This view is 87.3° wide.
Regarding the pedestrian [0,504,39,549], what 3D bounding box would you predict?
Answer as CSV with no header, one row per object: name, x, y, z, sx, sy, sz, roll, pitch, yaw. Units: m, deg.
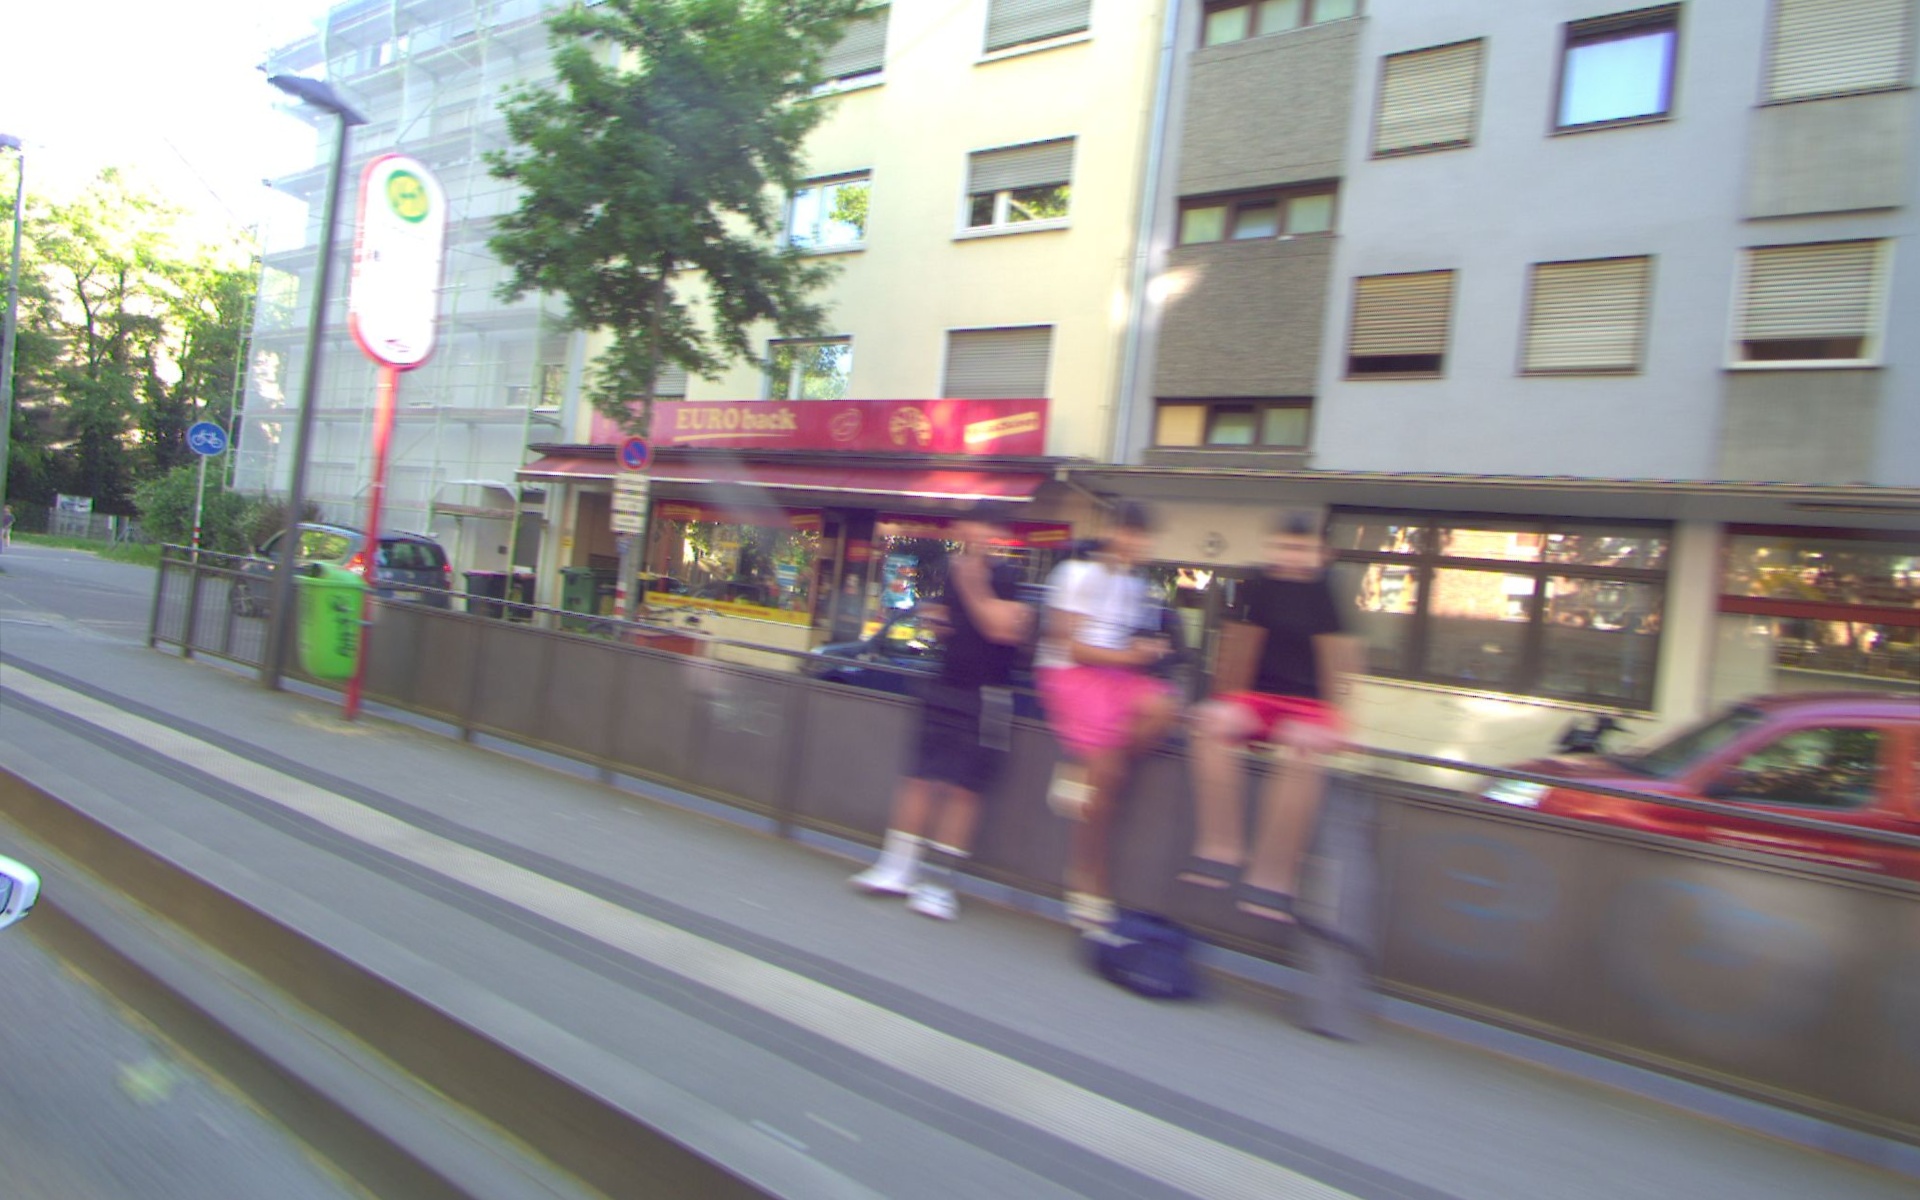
pedestrian,-27.146,-2.113,28.899,0.647,1.131,0.677,7,-1,21

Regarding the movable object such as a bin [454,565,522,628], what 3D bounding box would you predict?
movable object such as a bin,-9.236,-0.056,19.701,0.685,1.125,0.882,7,1,30

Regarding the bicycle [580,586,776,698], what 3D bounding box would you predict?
bicycle,-3.533,0.546,12.826,1.012,1.225,2.206,7,0,32

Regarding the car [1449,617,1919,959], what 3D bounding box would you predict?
car,5.807,1.287,6.951,4.104,1.775,1.692,7,-2,31

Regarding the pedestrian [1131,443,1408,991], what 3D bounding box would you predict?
pedestrian,1.177,0.384,3.719,0.681,1.720,0.847,7,-1,25

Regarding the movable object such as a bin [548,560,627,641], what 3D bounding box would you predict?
movable object such as a bin,-7.040,0.023,19.036,0.811,1.414,1.000,7,1,30

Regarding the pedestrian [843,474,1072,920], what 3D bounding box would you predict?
pedestrian,0.013,0.402,4.475,0.570,1.775,0.690,7,-1,25

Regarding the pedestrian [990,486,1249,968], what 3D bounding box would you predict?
pedestrian,0.648,0.476,4.138,0.491,1.790,0.695,8,-1,-43

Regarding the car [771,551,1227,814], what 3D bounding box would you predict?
car,0.329,0.710,10.415,4.126,1.919,1.995,7,0,34

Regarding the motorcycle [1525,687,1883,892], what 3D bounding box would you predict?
motorcycle,7.195,1.785,9.994,2.605,1.336,0.951,8,5,30

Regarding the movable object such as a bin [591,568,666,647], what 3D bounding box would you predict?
movable object such as a bin,-6.193,0.148,18.826,0.811,1.367,0.924,7,1,30

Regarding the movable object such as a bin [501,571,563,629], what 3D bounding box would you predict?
movable object such as a bin,-8.995,0.006,21.147,0.685,1.125,0.882,7,1,30

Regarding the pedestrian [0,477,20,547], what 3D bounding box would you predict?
pedestrian,-27.429,-2.546,28.286,0.979,1.907,0.871,7,-1,14

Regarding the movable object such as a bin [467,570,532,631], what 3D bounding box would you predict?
movable object such as a bin,-9.380,0.016,20.511,0.685,1.125,0.882,7,1,30

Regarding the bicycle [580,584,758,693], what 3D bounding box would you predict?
bicycle,-4.002,0.521,13.923,2.169,1.225,0.685,6,1,4

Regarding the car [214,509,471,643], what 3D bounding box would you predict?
car,-10.032,-0.419,16.250,4.369,1.642,1.763,7,1,33
